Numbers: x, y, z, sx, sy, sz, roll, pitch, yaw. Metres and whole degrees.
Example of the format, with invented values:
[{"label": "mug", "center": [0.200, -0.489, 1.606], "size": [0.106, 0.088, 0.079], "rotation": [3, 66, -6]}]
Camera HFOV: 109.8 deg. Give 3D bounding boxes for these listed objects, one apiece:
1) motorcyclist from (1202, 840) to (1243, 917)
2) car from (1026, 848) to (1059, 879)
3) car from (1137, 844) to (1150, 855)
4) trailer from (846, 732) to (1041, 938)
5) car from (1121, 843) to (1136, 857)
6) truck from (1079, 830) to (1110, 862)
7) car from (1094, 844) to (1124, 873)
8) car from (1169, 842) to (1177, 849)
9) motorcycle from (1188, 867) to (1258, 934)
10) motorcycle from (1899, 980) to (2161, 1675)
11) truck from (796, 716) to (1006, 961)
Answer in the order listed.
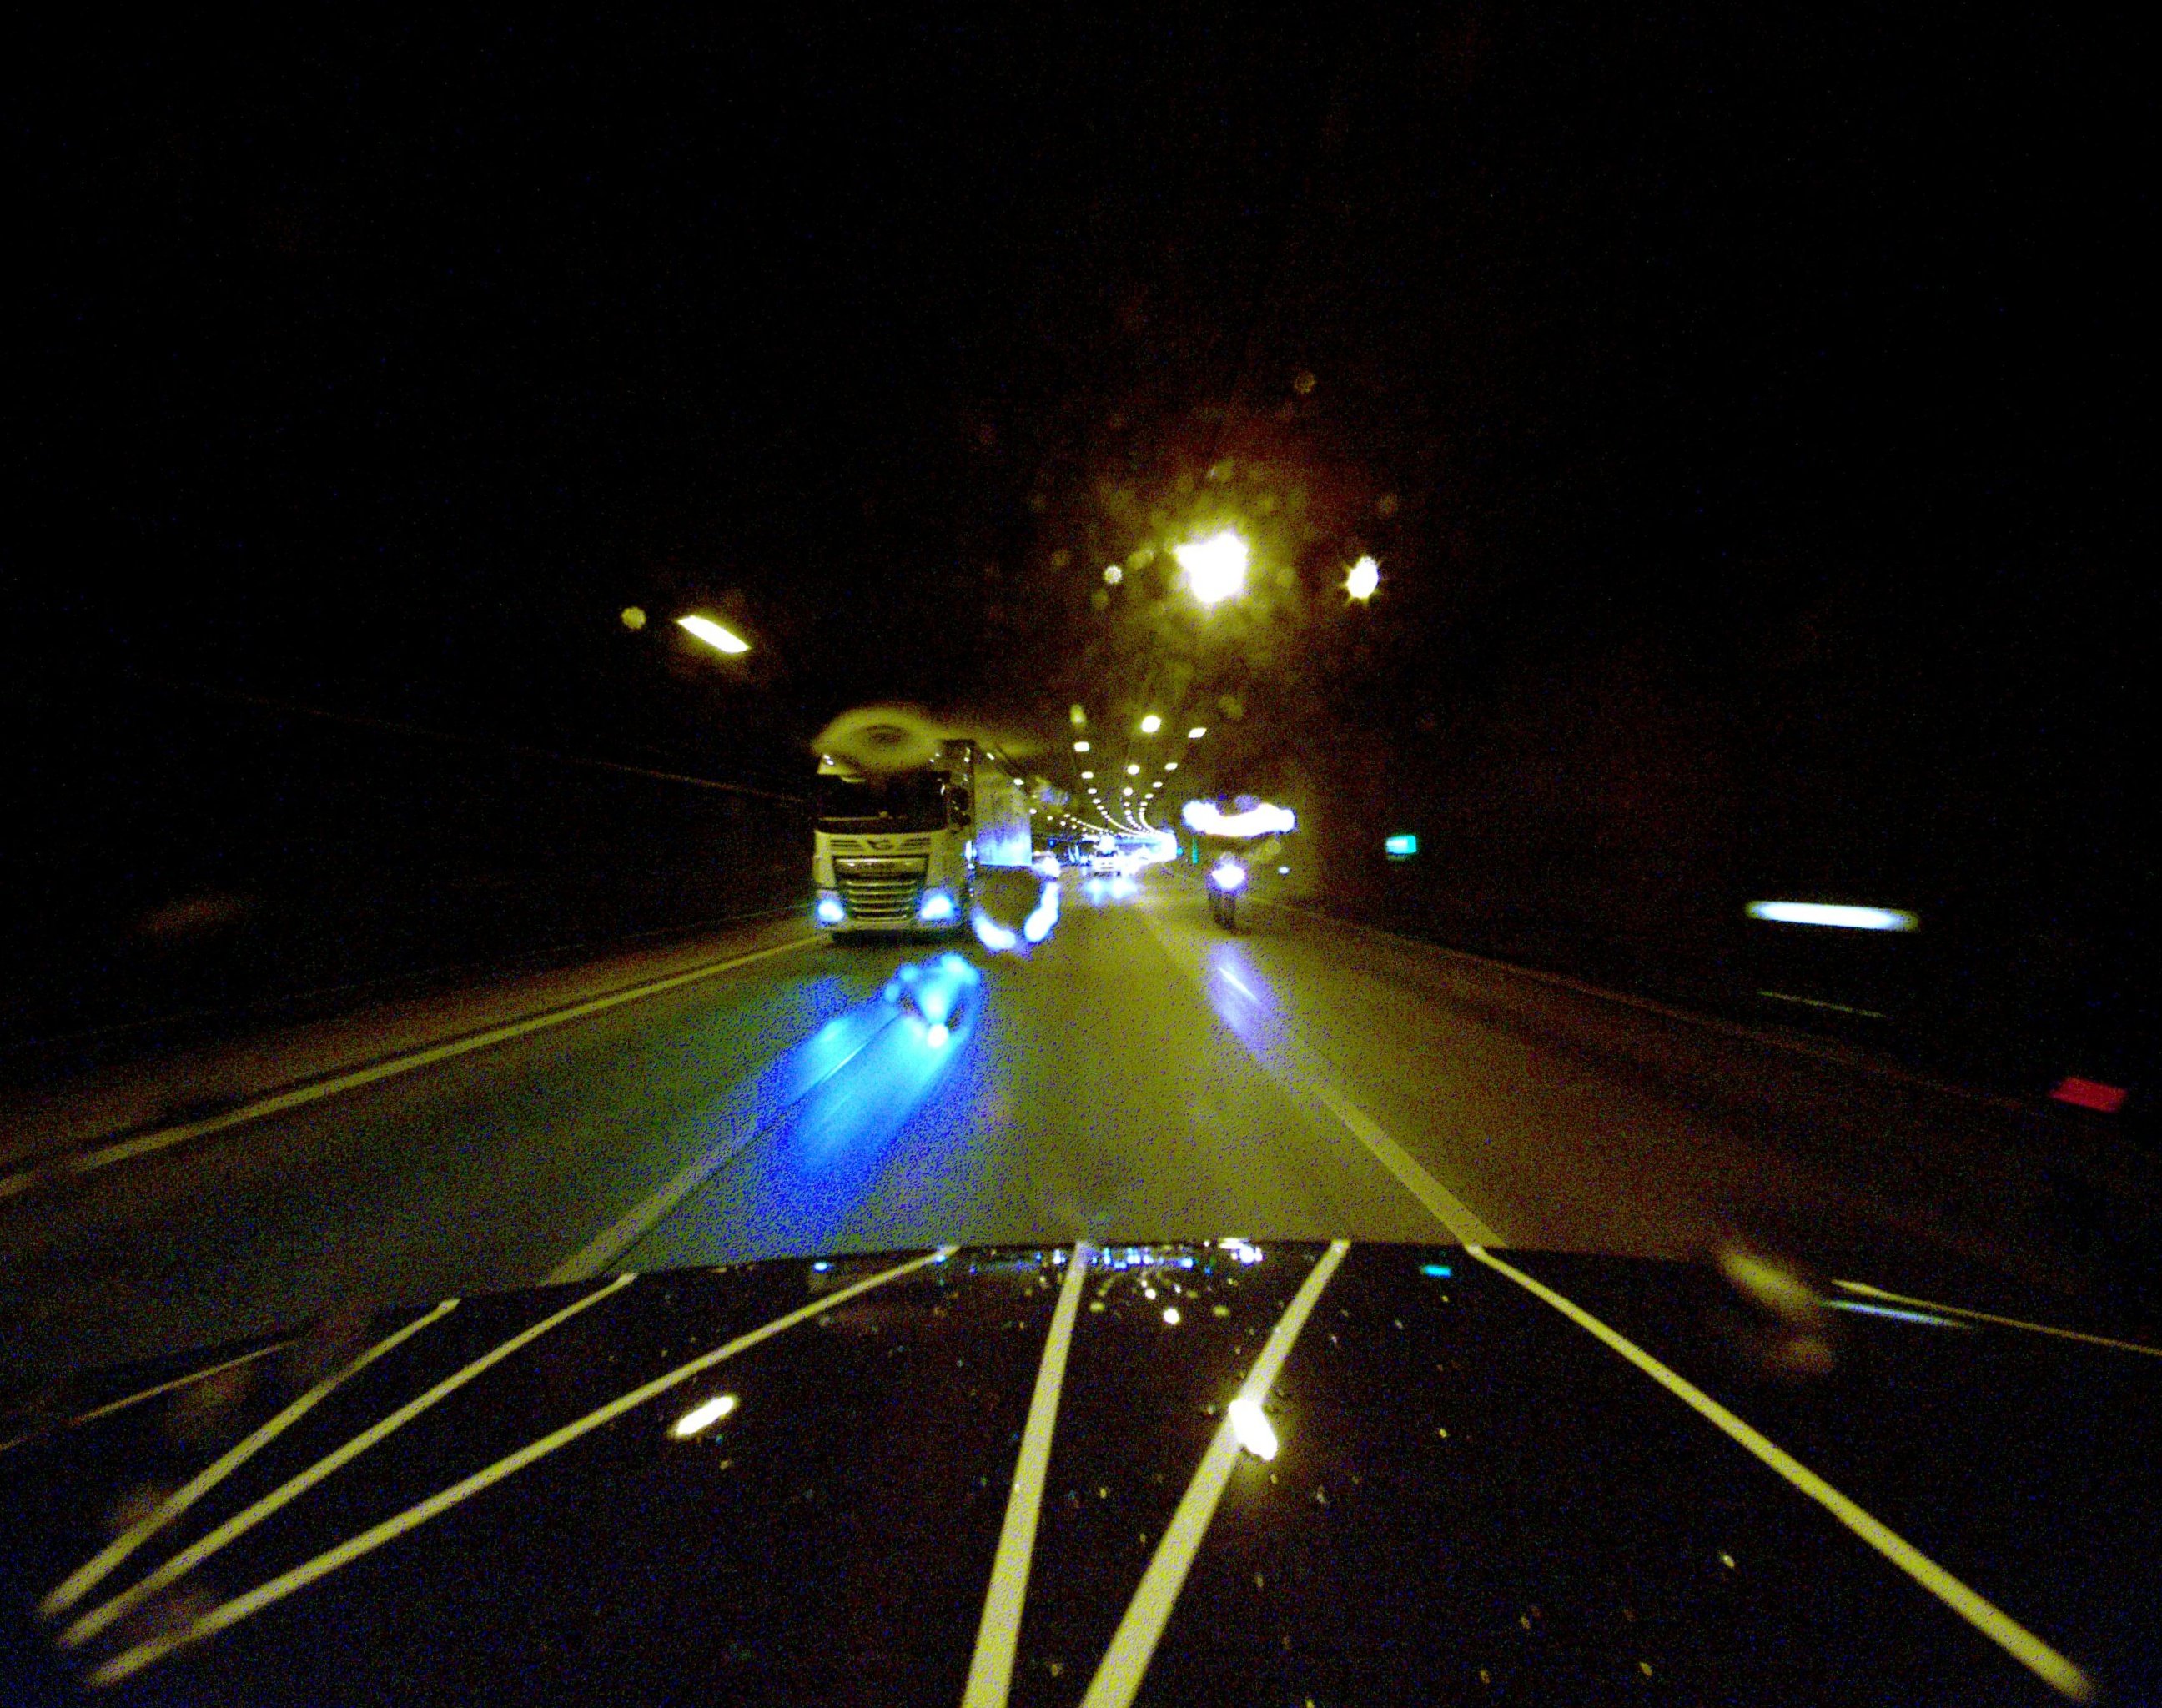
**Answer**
[{"label": "motorcyclist", "center": [2.850, 0.479, 15.315], "size": [0.628, 1.480, 0.890], "rotation": [-2, 1, 1]}, {"label": "car", "center": [-2.418, 0.575, 48.969], "size": [1.840, 1.849, 4.287], "rotation": [-2, 1, 0]}, {"label": "car", "center": [11.389, -0.889, 138.523], "size": [1.997, 1.788, 4.002], "rotation": [-3, 1, 10]}, {"label": "trailer", "center": [-3.228, -0.436, 22.785], "size": [2.627, 4.139, 14.001], "rotation": [-3, 0, 2]}, {"label": "car", "center": [6.969, -0.595, 110.798], "size": [1.998, 1.788, 4.001], "rotation": [-3, 1, 5]}, {"label": "truck", "center": [1.842, -1.046, 98.138], "size": [2.899, 3.819, 9.000], "rotation": [-3, 1, 7]}, {"label": "car", "center": [2.019, 0.294, 54.339], "size": [1.998, 1.890, 4.000], "rotation": [-2, 0, 2]}, {"label": "car", "center": [25.318, -2.315, 208.885], "size": [1.997, 1.788, 4.002], "rotation": [-3, 1, 11]}, {"label": "motorcycle", "center": [2.832, 0.893, 15.422], "size": [1.055, 1.151, 2.428], "rotation": [-2, 1, 3]}, {"label": "motorcycle", "center": [2.475, 0.940, 0.588], "size": [0.848, 1.238, 2.604], "rotation": [-2, 0, 0]}, {"label": "truck", "center": [-3.431, -0.277, 16.211], "size": [2.652, 4.139, 6.005], "rotation": [-3, 1, 2]}]
